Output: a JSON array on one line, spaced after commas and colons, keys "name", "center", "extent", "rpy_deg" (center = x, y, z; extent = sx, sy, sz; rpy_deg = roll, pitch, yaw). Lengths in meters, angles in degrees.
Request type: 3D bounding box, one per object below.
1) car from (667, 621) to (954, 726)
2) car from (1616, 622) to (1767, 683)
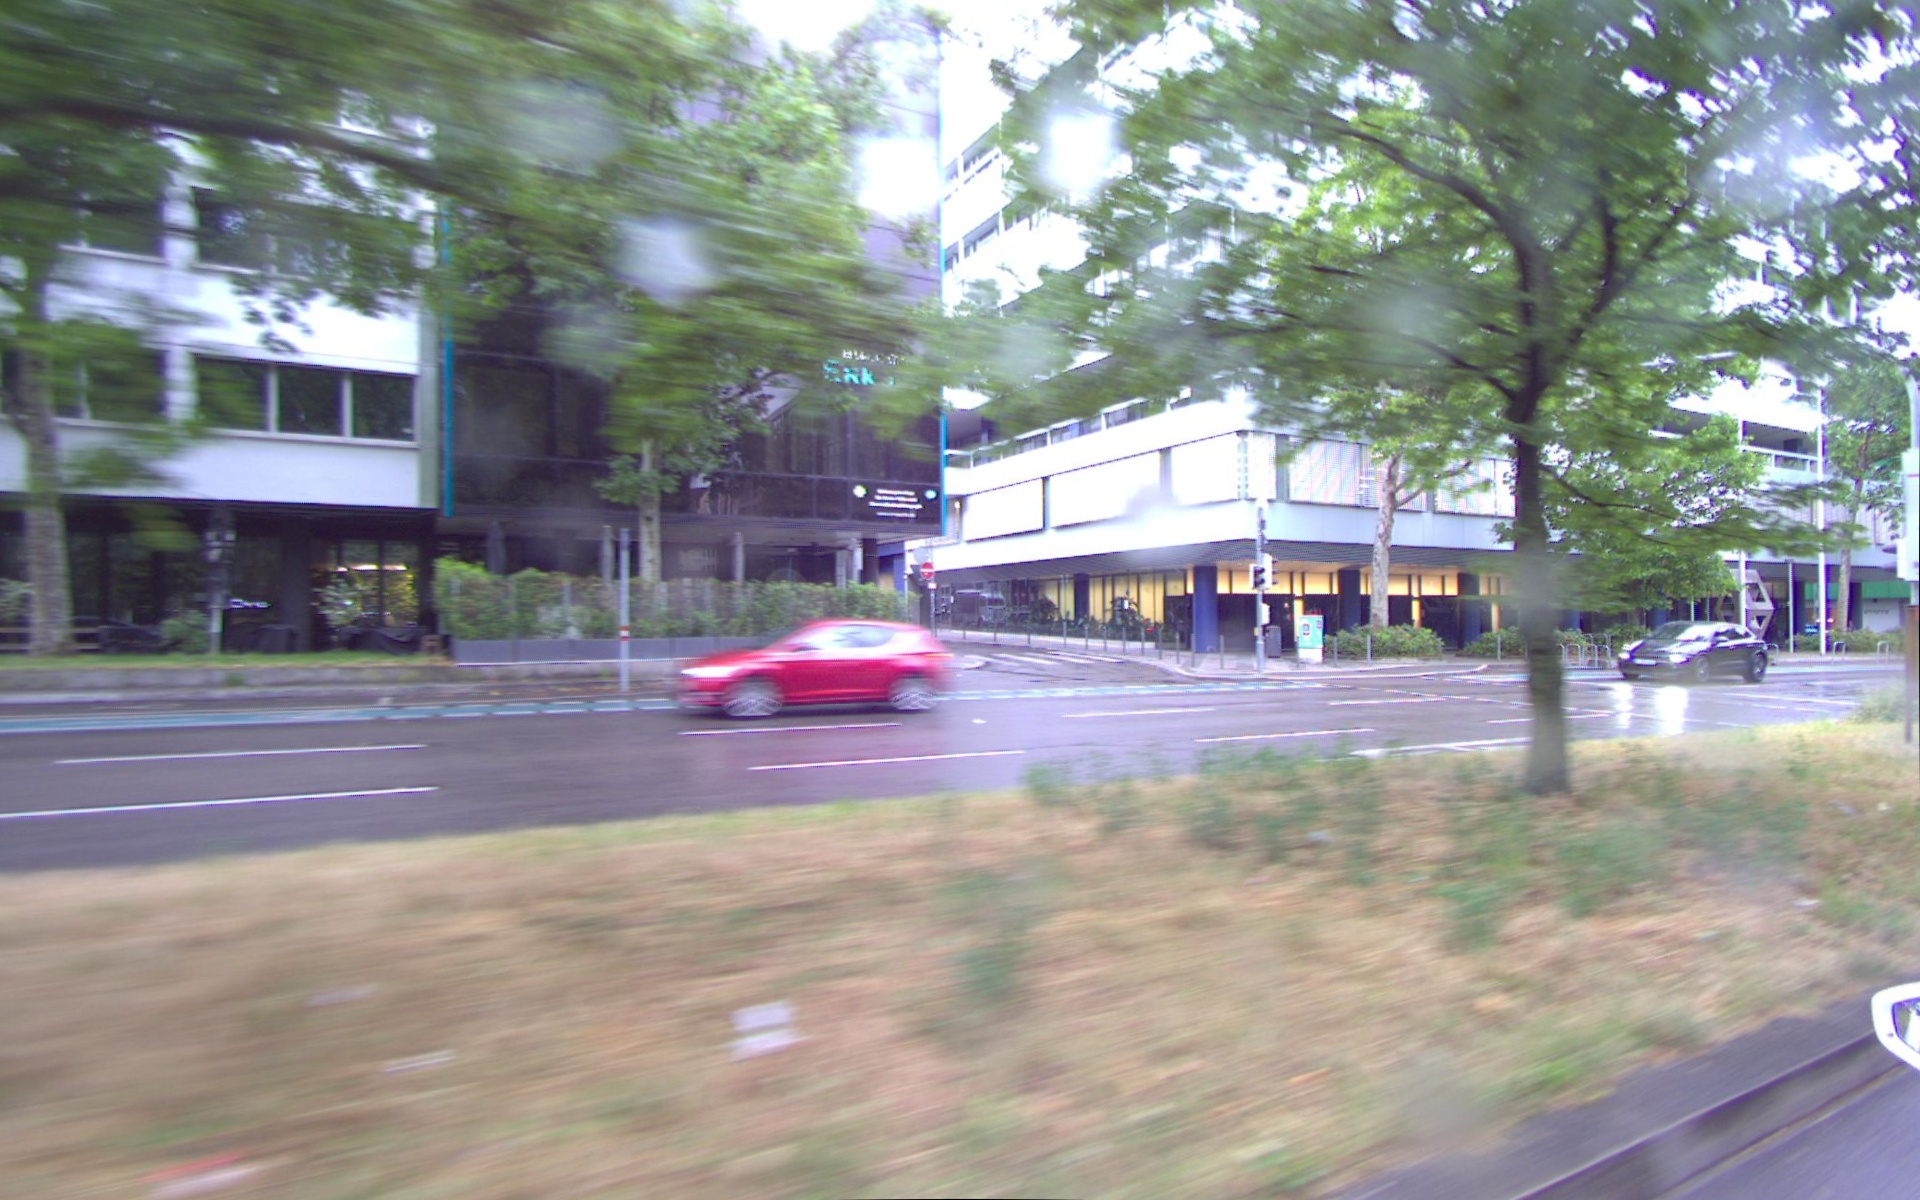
[{"name": "car", "center": [-2.275, 1.053, 15.579], "extent": [4.134, 1.412, 1.607], "rpy_deg": [0, -1, -30]}, {"name": "car", "center": [20.266, 1.414, 27.804], "extent": [4.138, 1.572, 1.822], "rpy_deg": [1, -1, -29]}]
